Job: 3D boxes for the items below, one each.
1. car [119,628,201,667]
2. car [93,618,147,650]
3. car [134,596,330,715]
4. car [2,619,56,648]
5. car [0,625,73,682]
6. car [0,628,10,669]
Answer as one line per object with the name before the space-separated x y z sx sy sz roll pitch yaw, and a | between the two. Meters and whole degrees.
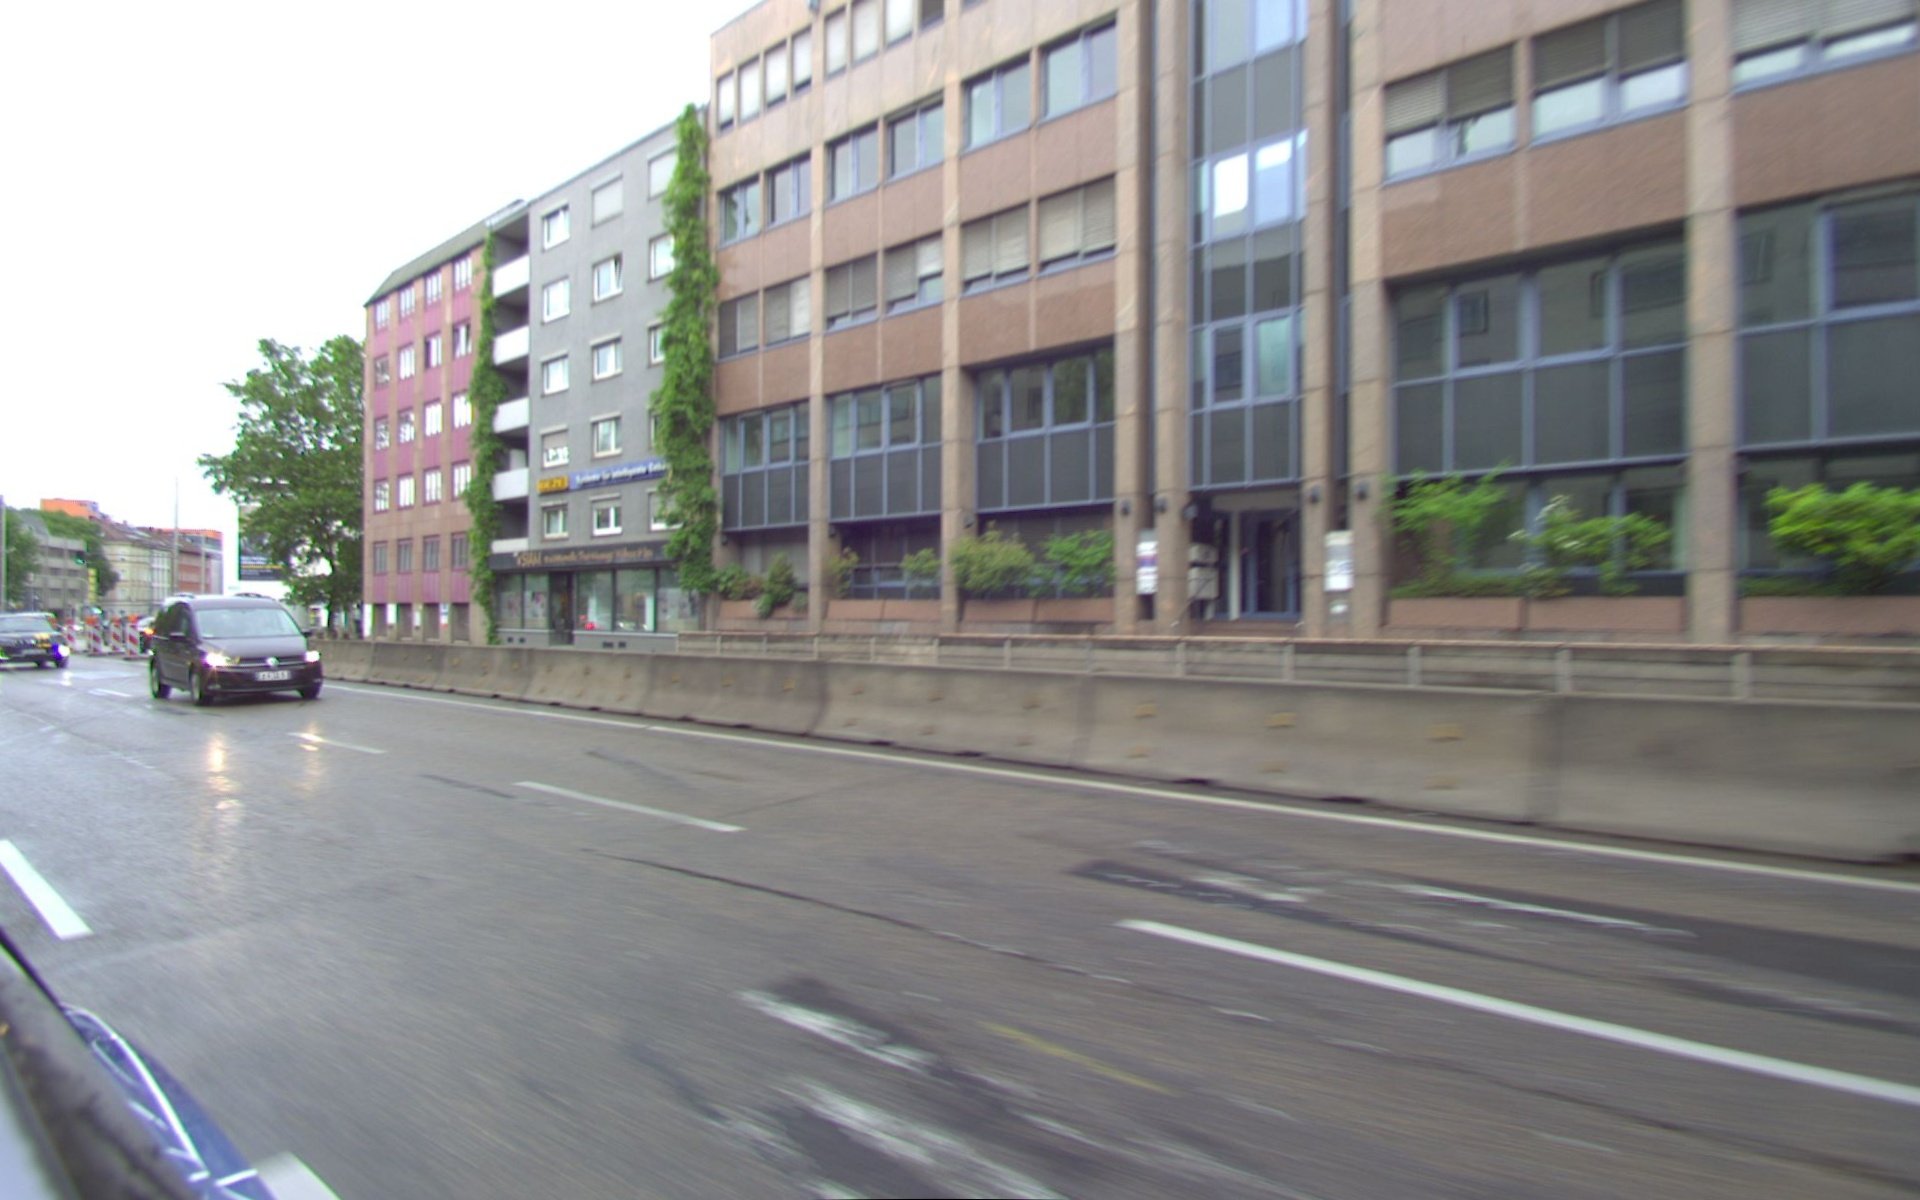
car | -33.319 1.944 42.092 4.227 1.545 1.842 -1 -2 40
car | -48.554 1.934 58.460 4.423 1.784 1.703 -1 -2 41
car | -12.669 0.892 17.517 4.121 1.813 1.773 -1 -1 40
car | -67.578 2.414 73.449 5.280 2.005 1.975 -1 -2 37
car | -28.010 1.563 29.994 3.994 1.552 1.907 -2 -2 38
car | -39.518 1.929 40.510 3.999 1.588 1.823 -1 -2 42
